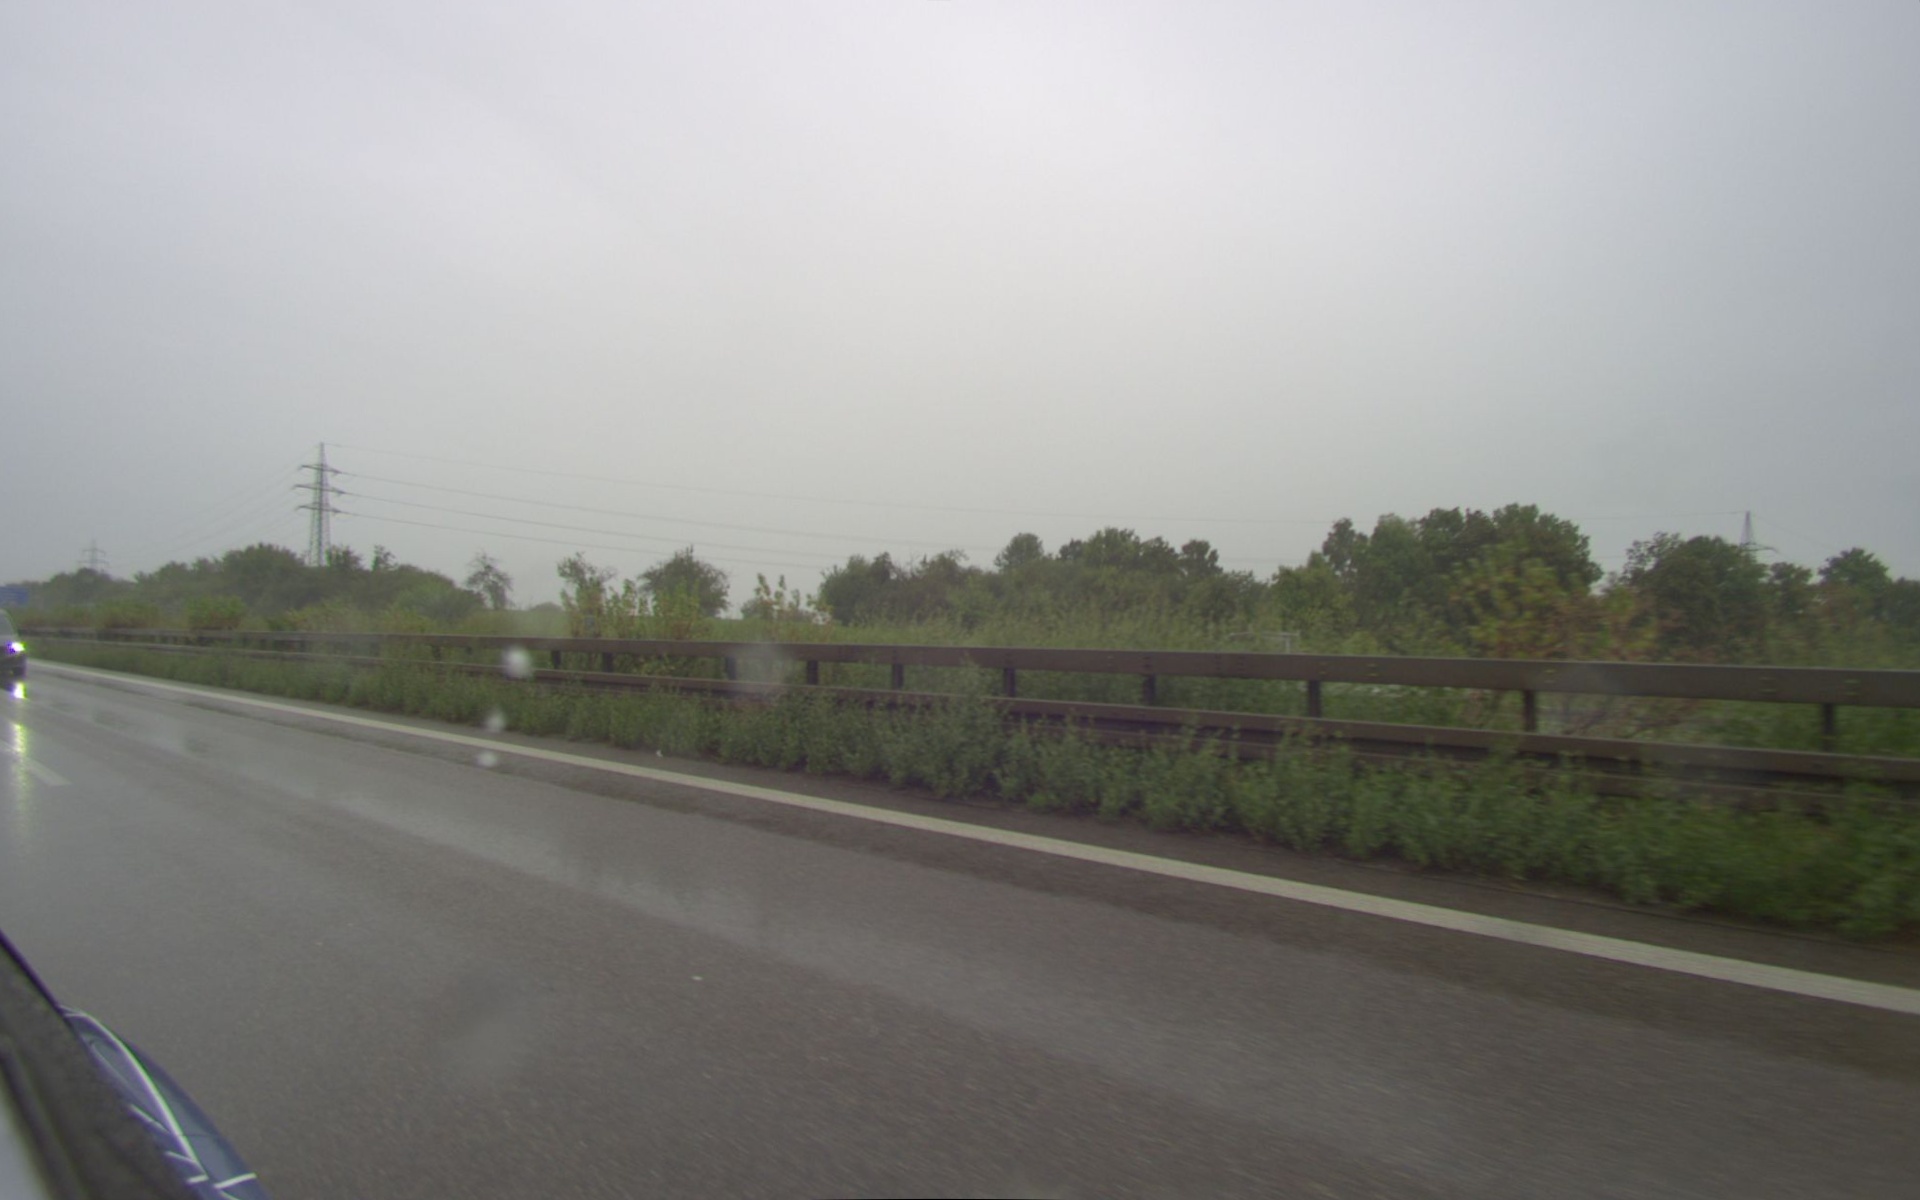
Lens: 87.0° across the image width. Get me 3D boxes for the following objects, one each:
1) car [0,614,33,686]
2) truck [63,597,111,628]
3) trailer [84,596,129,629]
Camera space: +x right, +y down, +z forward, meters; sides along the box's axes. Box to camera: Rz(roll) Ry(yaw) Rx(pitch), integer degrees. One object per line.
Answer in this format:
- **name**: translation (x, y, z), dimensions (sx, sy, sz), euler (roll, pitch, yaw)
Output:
- **car**: translation (-25.770, 1.253, 26.292), dimensions (4.498, 1.787, 2.020), euler (-1, -1, 41)
- **truck**: translation (-91.984, 1.319, 106.552), dimensions (10.607, 3.059, 2.217), euler (-1, 0, 40)
- **trailer**: translation (-84.766, 1.249, 100.430), dimensions (8.261, 3.088, 2.223), euler (-1, 0, 41)
